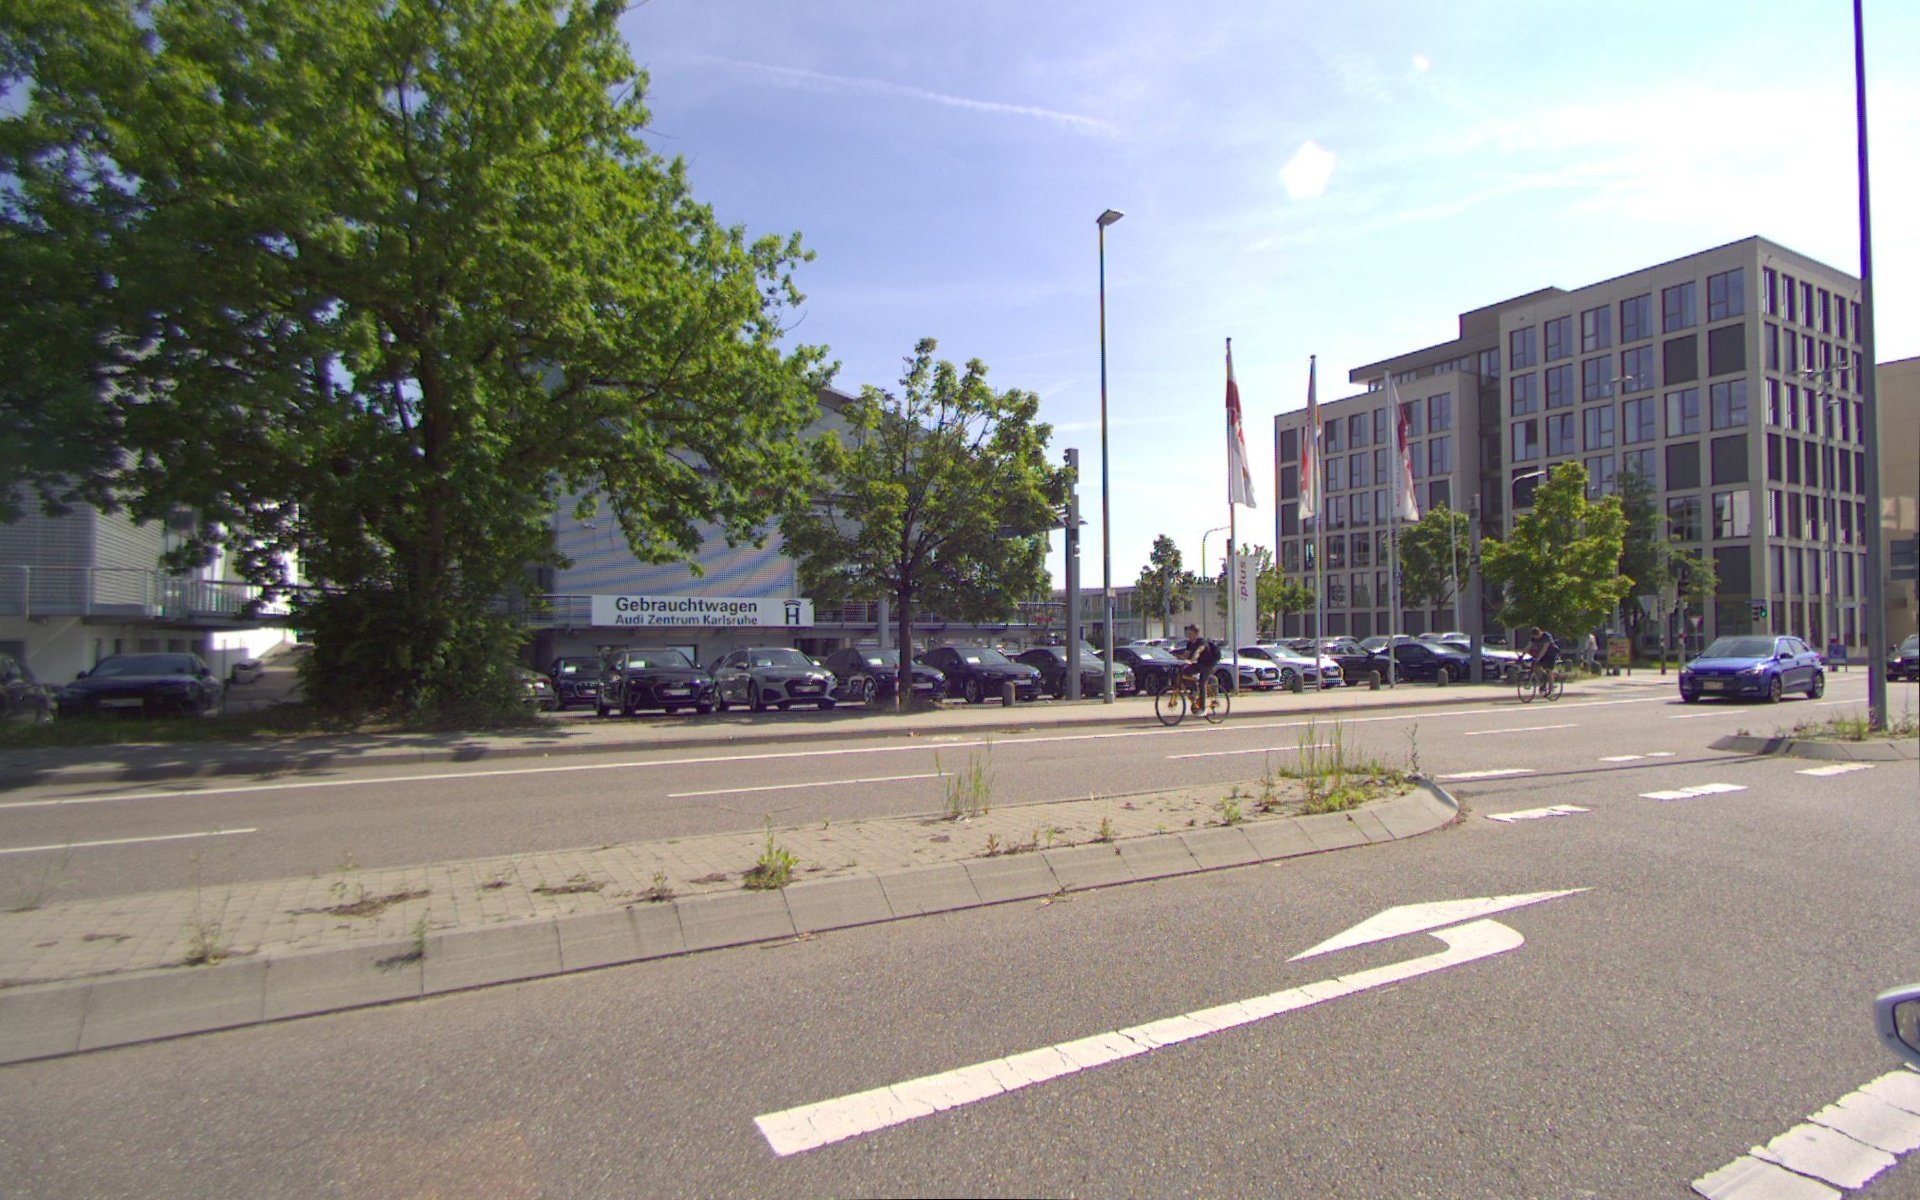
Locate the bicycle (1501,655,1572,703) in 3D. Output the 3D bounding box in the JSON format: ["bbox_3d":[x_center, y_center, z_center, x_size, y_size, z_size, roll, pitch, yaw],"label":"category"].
[{"bbox_3d":[13.684,1.864,23.833,1.854,1.065,0.582,1,-4,-31],"label":"bicycle"}]

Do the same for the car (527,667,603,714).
[{"bbox_3d":[-12.011,2.766,30.429,1.727,1.268,3.642,0,-5,-28],"label":"car"}]

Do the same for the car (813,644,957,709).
[{"bbox_3d":[-1.887,1.861,23.955,2.011,1.348,4.155,0,-5,-26],"label":"car"}]

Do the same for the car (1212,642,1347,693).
[{"bbox_3d":[9.700,2.093,30.790,1.726,1.382,3.864,0,-5,-26],"label":"car"}]

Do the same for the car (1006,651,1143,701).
[{"bbox_3d":[2.935,2.046,26.616,1.771,1.167,3.864,0,-5,-26],"label":"car"}]

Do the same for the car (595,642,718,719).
[{"bbox_3d":[-6.532,1.737,21.327,1.886,1.437,3.976,0,-5,-26],"label":"car"}]

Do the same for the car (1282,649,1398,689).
[{"bbox_3d":[12.625,2.294,33.394,3.388,1.189,1.849,0,-5,-30],"label":"car"}]

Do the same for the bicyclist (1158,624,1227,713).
[{"bbox_3d":[4.174,1.223,18.036,1.024,1.546,0.616,1,-3,-29],"label":"bicyclist"}]

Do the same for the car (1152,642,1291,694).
[{"bbox_3d":[7.578,2.017,29.460,1.824,1.350,3.864,0,-5,-26],"label":"car"}]

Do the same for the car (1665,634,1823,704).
[{"bbox_3d":[17.876,1.522,22.879,3.799,1.376,1.672,0,-2,-33],"label":"car"}]

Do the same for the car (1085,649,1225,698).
[{"bbox_3d":[5.346,2.079,28.028,1.886,1.181,3.864,0,-5,-26],"label":"car"}]

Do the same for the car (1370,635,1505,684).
[{"bbox_3d":[16.478,2.095,34.847,1.844,1.483,3.861,0,-5,-28],"label":"car"}]

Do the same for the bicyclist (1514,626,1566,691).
[{"bbox_3d":[13.760,1.382,23.834,1.016,1.521,0.627,1,-3,-31],"label":"bicyclist"}]

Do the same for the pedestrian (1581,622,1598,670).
[{"bbox_3d":[27.324,2.002,43.600,0.565,2.040,0.559,-1,-2,27],"label":"pedestrian"}]

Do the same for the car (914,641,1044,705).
[{"bbox_3d":[0.392,1.871,25.148,1.638,1.437,3.864,0,-5,-26],"label":"car"}]

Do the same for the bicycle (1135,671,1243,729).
[{"bbox_3d":[4.122,1.777,18.043,1.950,0.953,0.677,1,-3,-30],"label":"bicycle"}]

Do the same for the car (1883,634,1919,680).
[{"bbox_3d":[31.314,1.797,32.131,4.332,1.428,1.567,1,-2,-33],"label":"car"}]

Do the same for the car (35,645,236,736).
[{"bbox_3d":[-14.176,1.593,17.542,1.976,1.376,3.972,1,-6,-29],"label":"car"}]

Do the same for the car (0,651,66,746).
[{"bbox_3d":[-16.458,1.650,16.304,2.027,1.460,4.287,1,-6,-30],"label":"car"}]

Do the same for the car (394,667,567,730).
[{"bbox_3d":[-10.991,2.269,22.965,3.929,1.272,1.588,-5,-5,29],"label":"car"}]

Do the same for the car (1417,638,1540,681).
[{"bbox_3d":[18.523,2.151,36.005,1.620,1.375,3.581,0,-5,-29],"label":"car"}]

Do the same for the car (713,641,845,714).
[{"bbox_3d":[-4.117,1.755,22.359,1.886,1.437,3.864,0,-5,-26],"label":"car"}]
